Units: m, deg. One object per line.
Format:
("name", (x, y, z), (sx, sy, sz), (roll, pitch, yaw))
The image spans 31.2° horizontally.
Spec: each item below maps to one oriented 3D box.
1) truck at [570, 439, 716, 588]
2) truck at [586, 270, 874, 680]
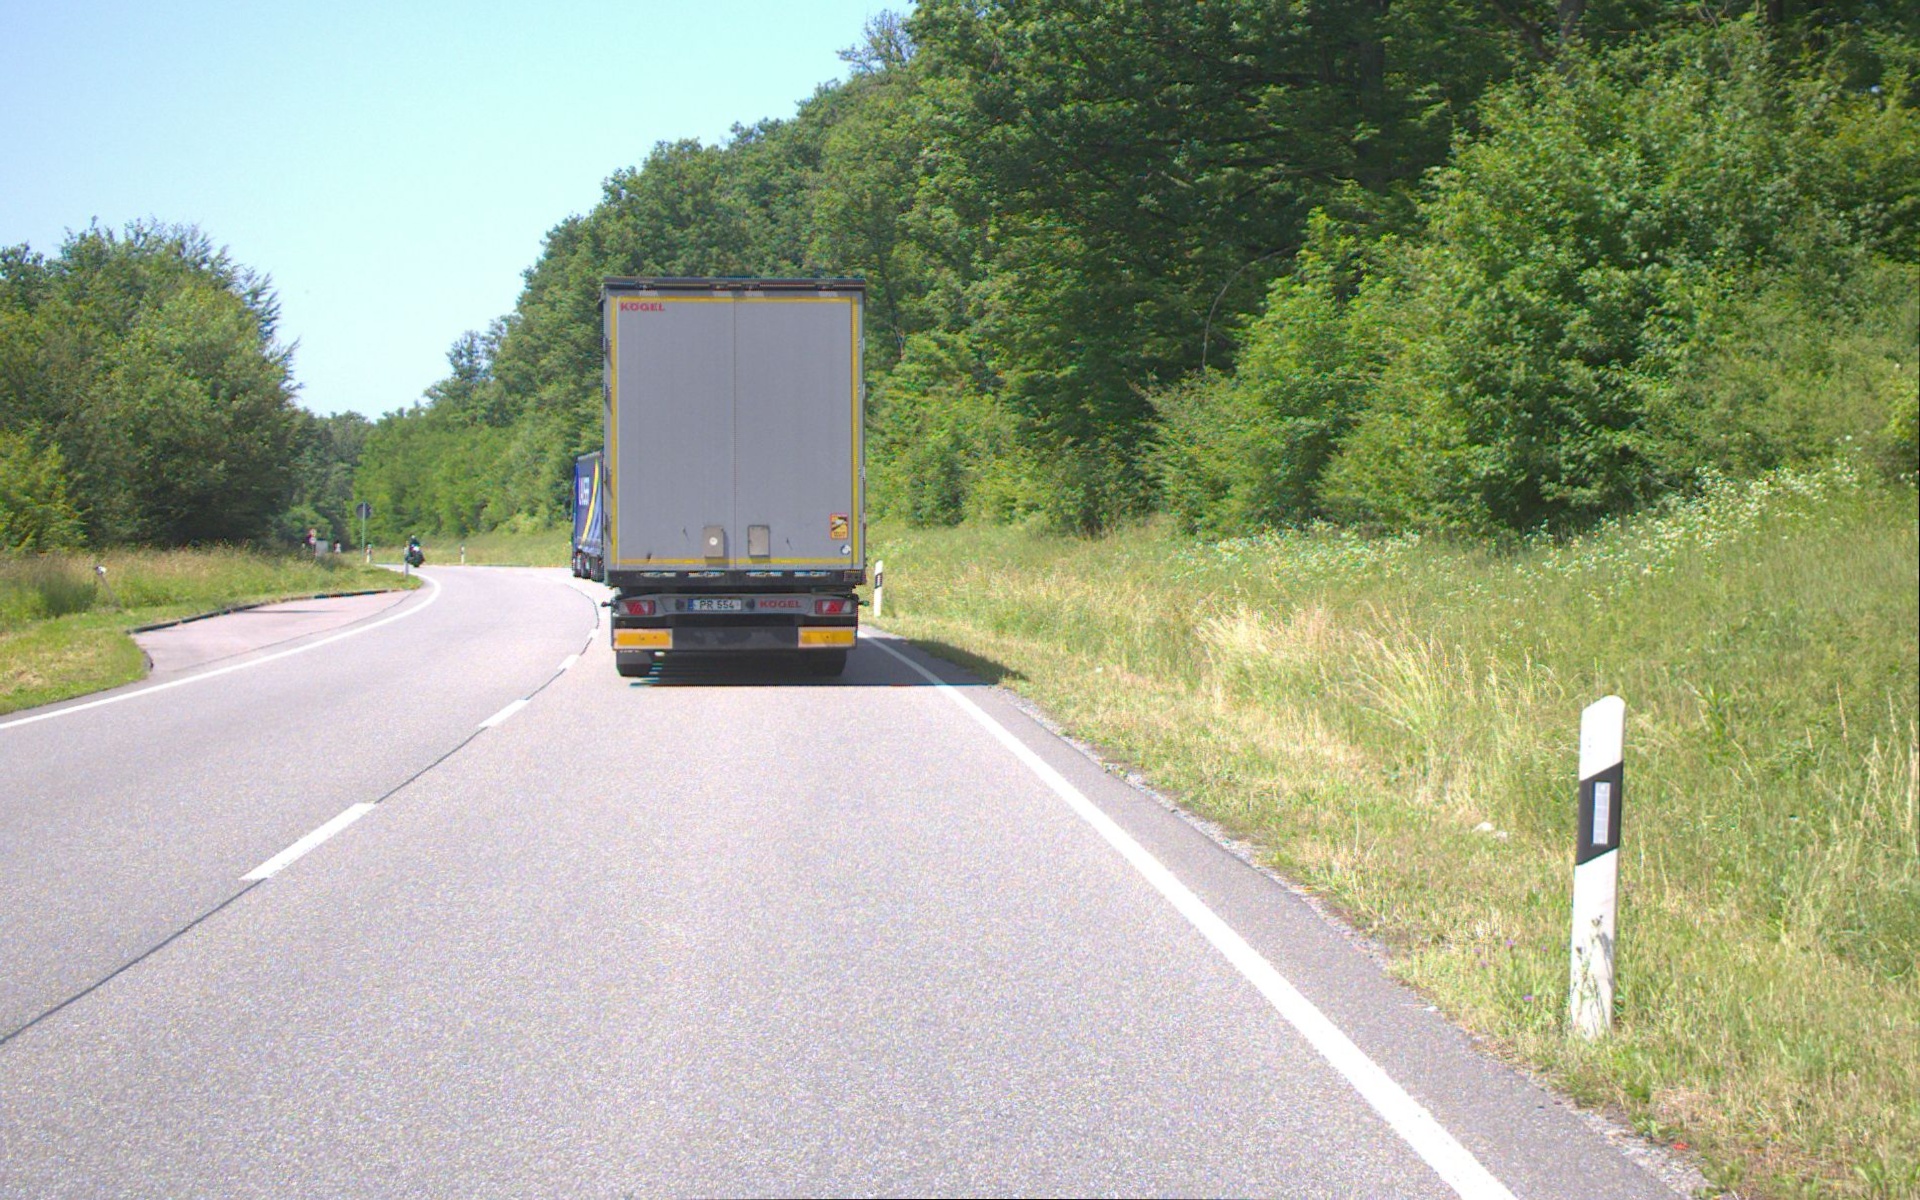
("truck", (-10.277, -2.737, 109.855), (3.792, 4.358, 14.924), (1, 1, -8))
("truck", (-2.580, -1.314, 39.201), (2.761, 3.933, 12.199), (0, 1, -3))
